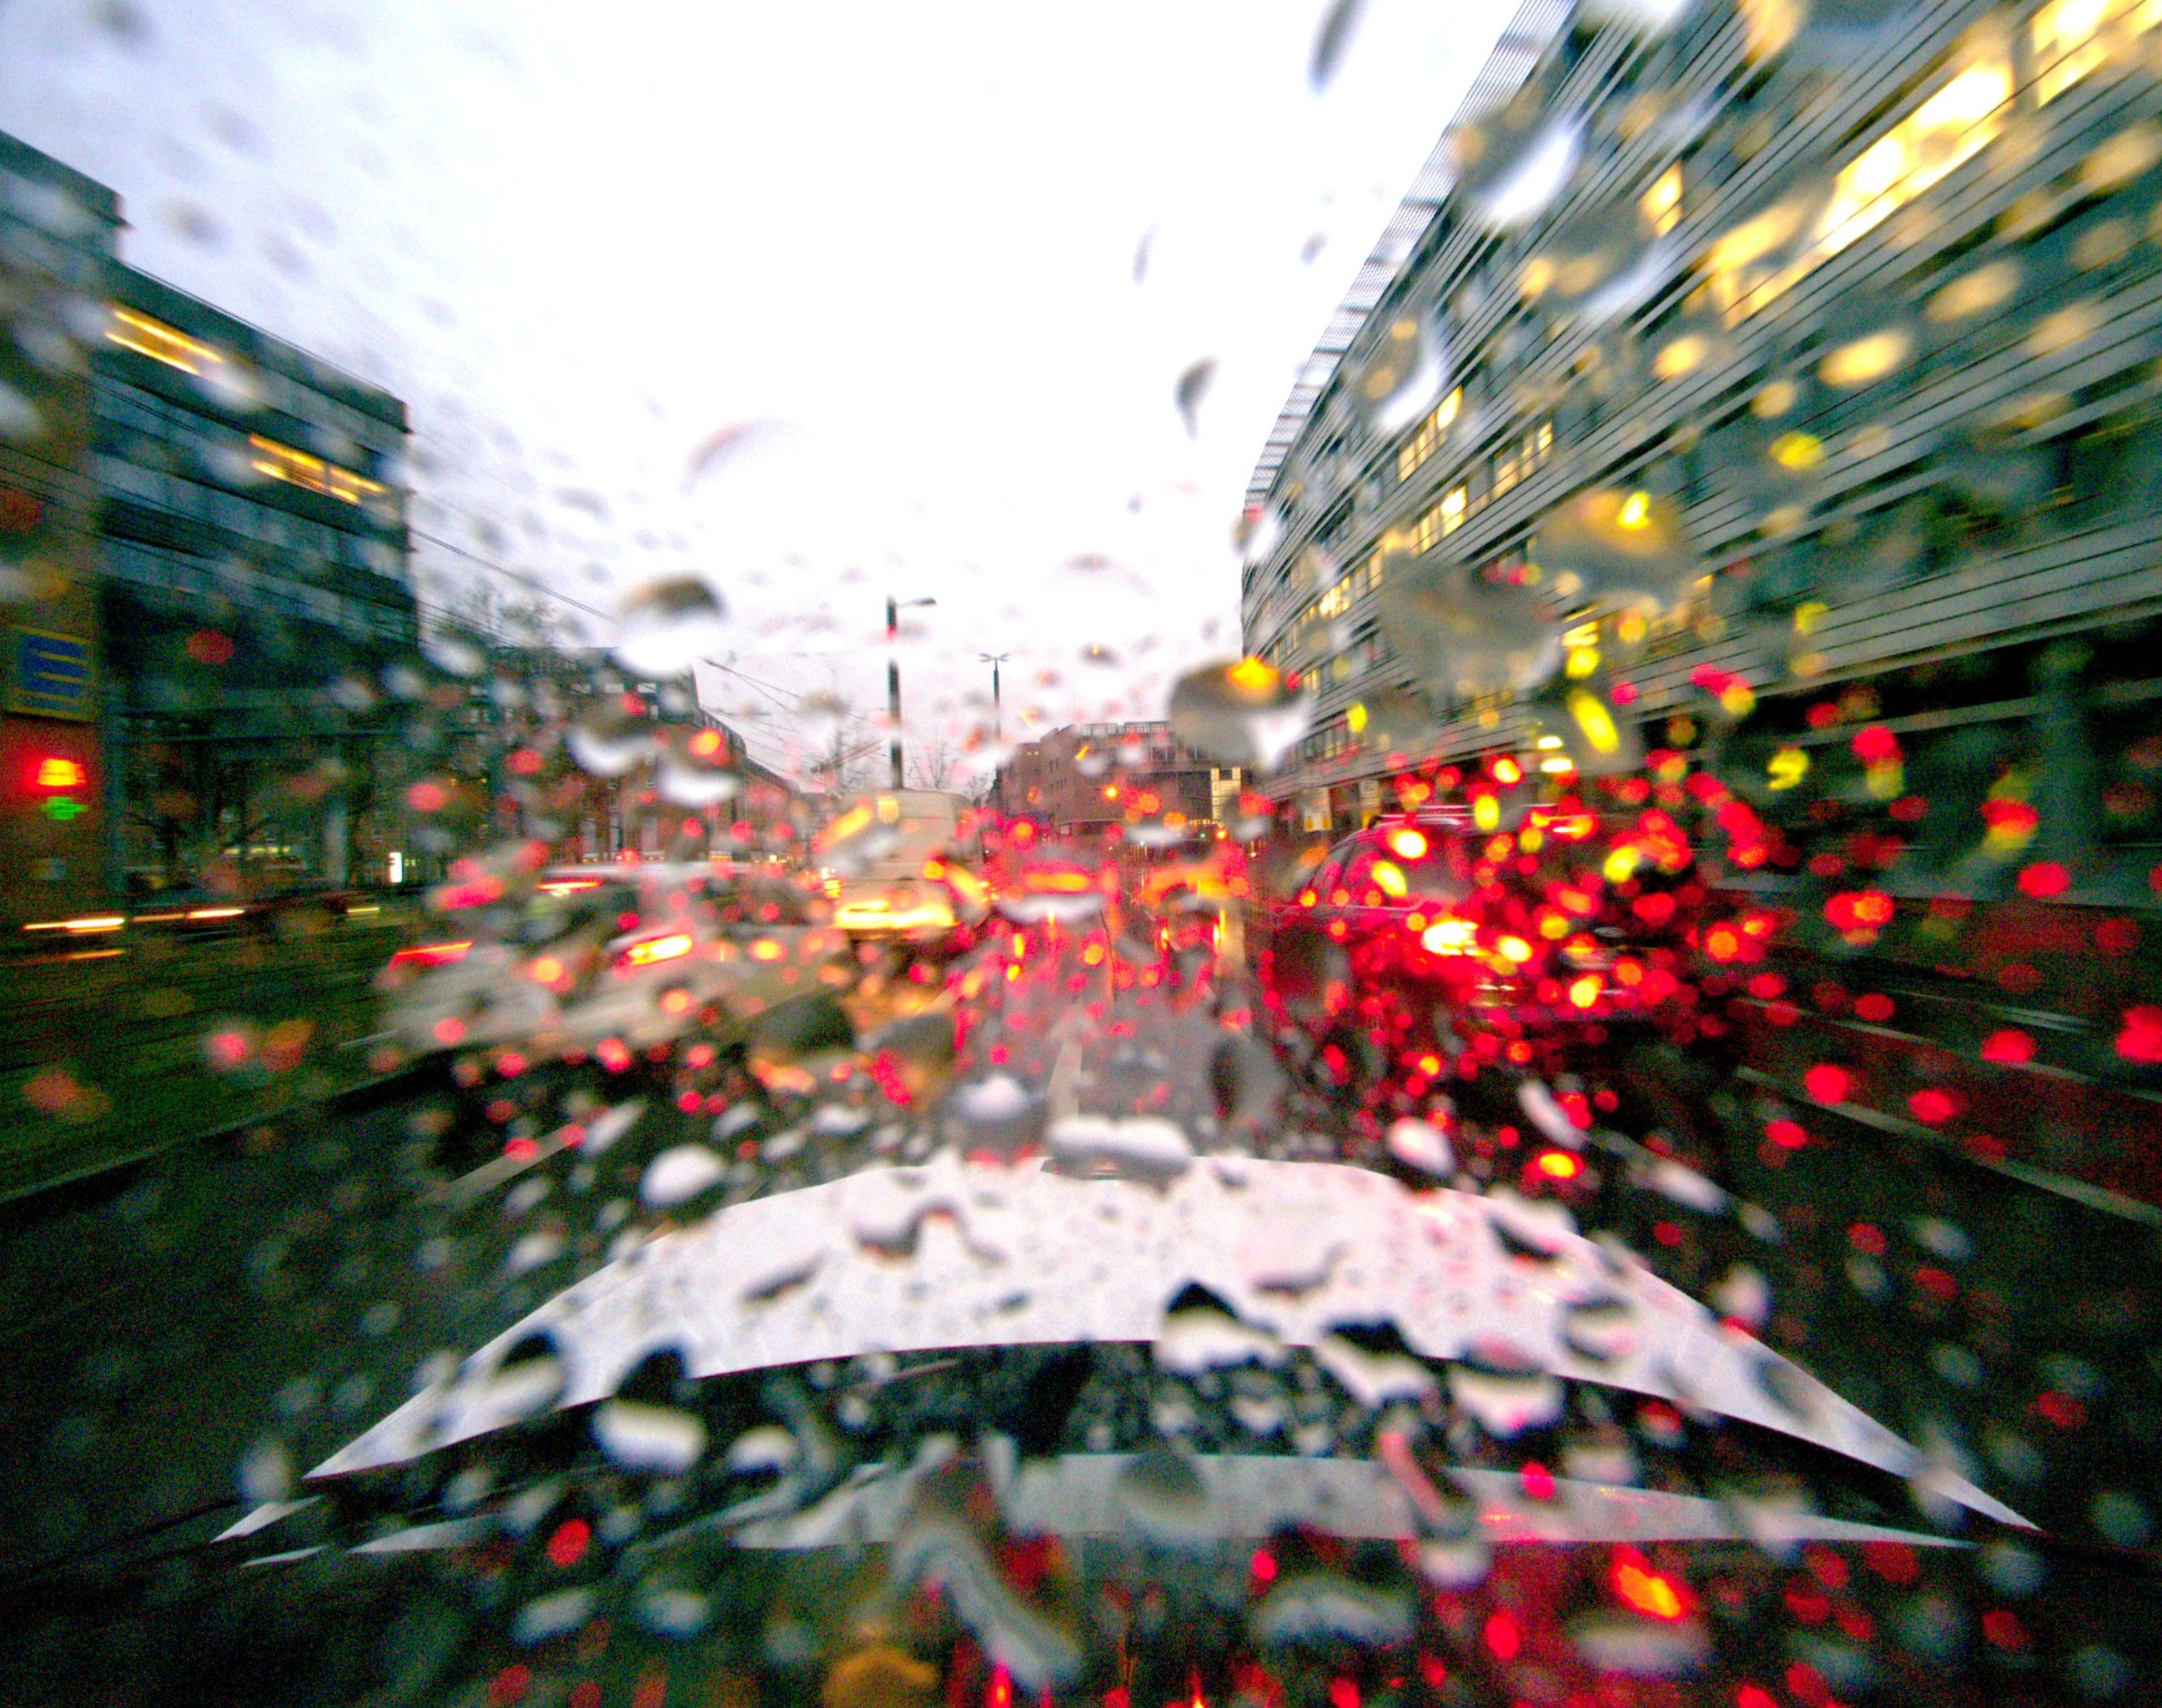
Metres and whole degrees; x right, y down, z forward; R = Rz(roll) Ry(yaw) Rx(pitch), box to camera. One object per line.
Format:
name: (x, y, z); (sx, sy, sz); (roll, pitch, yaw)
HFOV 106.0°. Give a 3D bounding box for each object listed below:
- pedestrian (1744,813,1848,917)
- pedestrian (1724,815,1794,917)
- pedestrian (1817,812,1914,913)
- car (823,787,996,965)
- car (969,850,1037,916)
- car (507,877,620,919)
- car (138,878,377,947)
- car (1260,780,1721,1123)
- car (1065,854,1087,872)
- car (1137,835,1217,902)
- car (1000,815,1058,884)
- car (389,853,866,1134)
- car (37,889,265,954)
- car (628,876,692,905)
pedestrian: (12.207, 0.178, 13.946); (0.790, 1.686, 1.069); (-2, 0, 1)
pedestrian: (11.537, 0.200, 13.876); (0.529, 1.683, 0.745); (-2, 0, 1)
pedestrian: (13.280, 0.142, 13.815); (0.723, 1.625, 0.903); (-2, 0, 1)
car: (-2.698, 0.311, 14.373); (1.989, 2.427, 5.967); (-2, 0, -3)
car: (-1.954, 0.716, 21.254); (1.514, 1.520, 3.467); (-2, -1, -2)
car: (-21.242, 1.759, 33.644); (1.988, 1.449, 4.311); (-2, 0, -2)
car: (-20.645, 1.401, 20.723); (1.723, 1.393, 4.200); (-2, 0, 1)
car: (2.622, 0.526, 6.355); (1.667, 1.779, 4.002); (-2, 0, 2)
car: (-0.362, 0.671, 63.105); (1.505, 1.305, 3.042); (-2, 0, 2)
car: (2.858, 0.407, 25.130); (1.838, 1.806, 4.485); (-2, 0, -1)
car: (-2.272, -0.173, 37.405); (2.348, 2.827, 6.355); (-2, 0, -1)
car: (-3.030, 0.780, 6.418); (1.633, 1.496, 3.685); (-2, 0, 0)
car: (-26.123, 1.838, 23.155); (1.630, 1.449, 4.410); (-2, 0, -5)
car: (-23.720, 2.040, 46.025); (1.626, 1.449, 3.622); (-2, 0, 1)
